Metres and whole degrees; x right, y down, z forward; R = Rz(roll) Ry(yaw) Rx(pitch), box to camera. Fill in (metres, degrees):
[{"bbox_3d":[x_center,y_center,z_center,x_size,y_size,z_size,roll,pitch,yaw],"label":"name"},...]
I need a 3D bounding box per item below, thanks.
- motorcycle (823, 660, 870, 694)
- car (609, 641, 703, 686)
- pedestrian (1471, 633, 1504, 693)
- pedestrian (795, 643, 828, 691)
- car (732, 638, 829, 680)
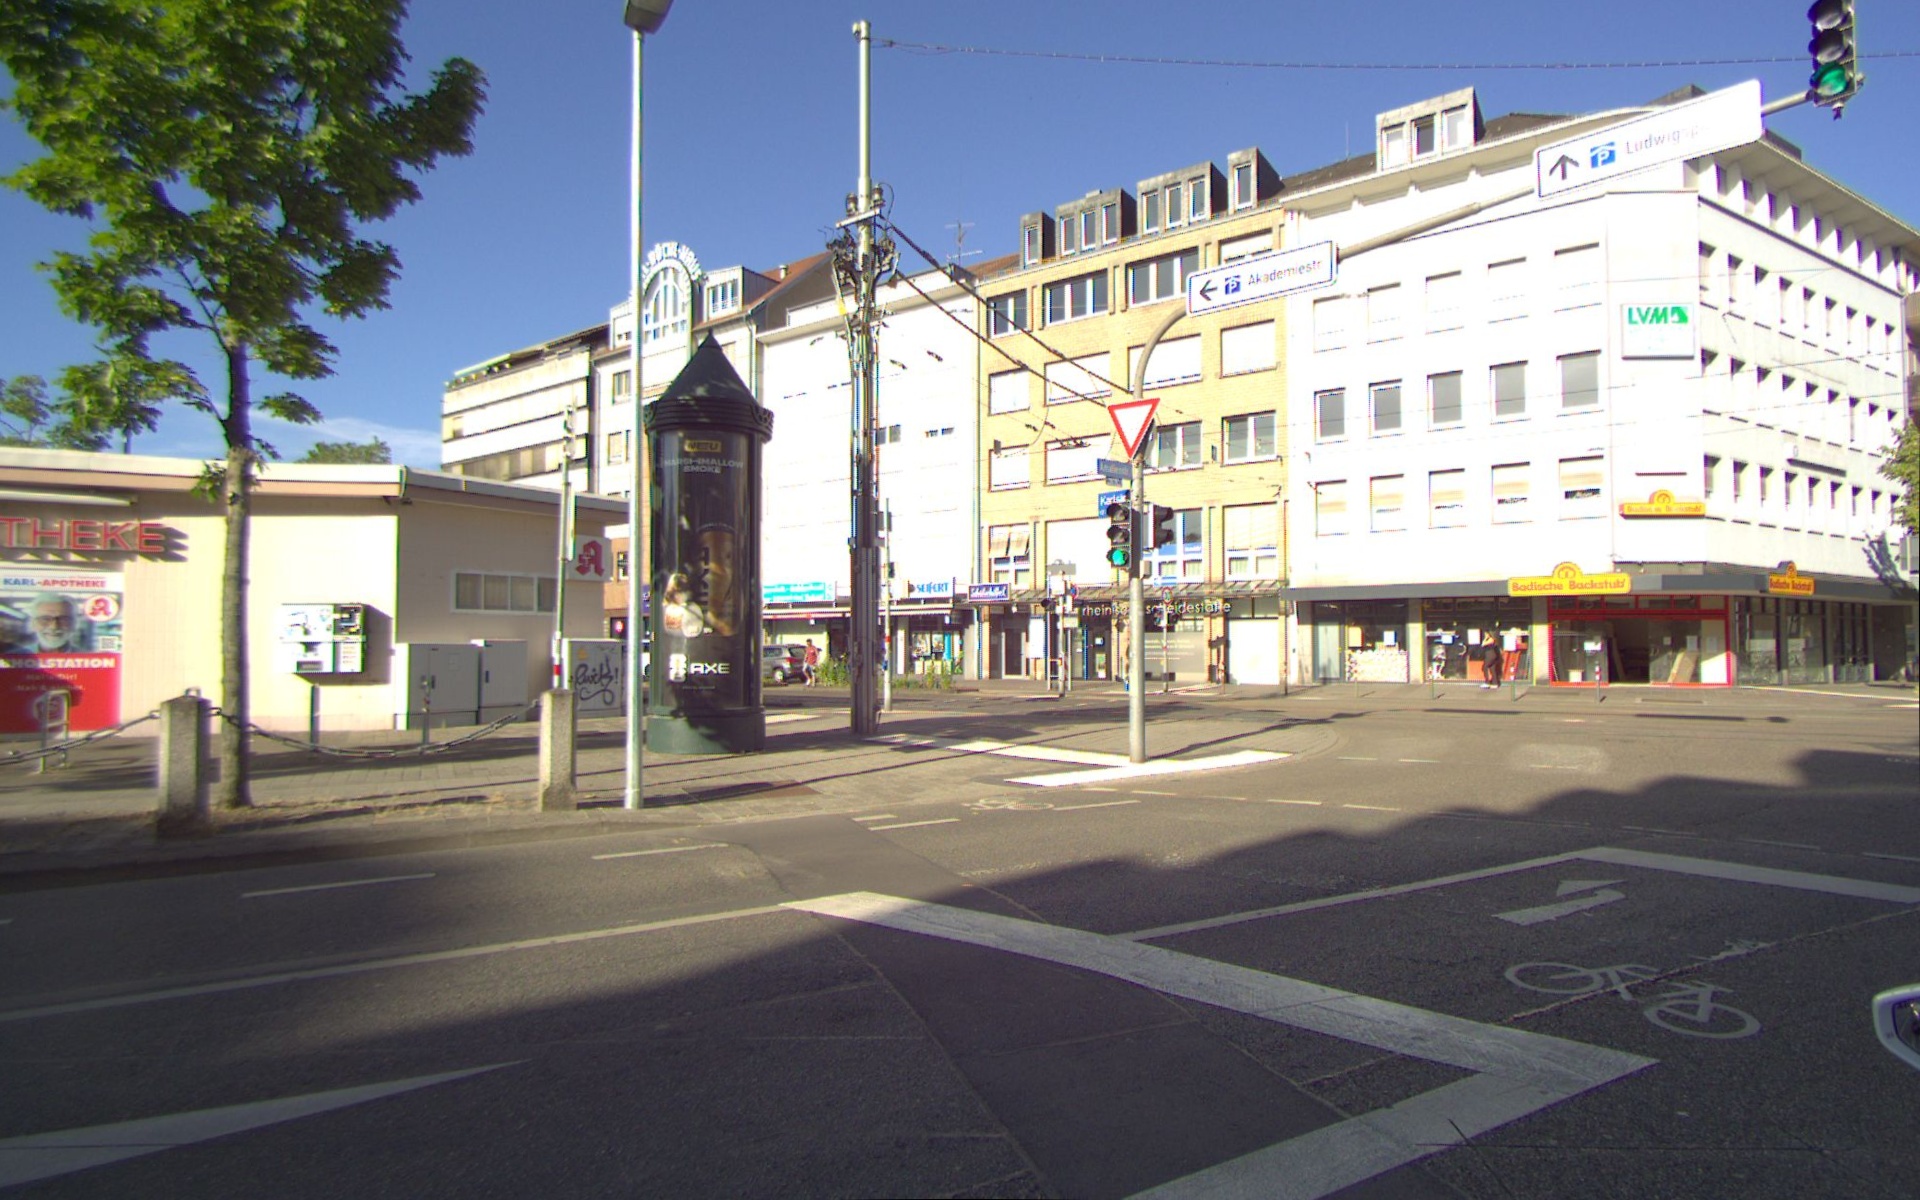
[{"bbox_3d":[-5.263,3.530,46.619,0.983,1.525,2.250,-2,-3,33],"label":"motorcycle"},{"bbox_3d":[-14.613,3.006,48.203,4.768,2.040,1.992,-2,-3,39],"label":"car"},{"bbox_3d":[15.657,1.867,29.802,0.705,1.731,0.555,2,-4,-33],"label":"pedestrian"},{"bbox_3d":[-5.260,2.358,35.593,0.898,1.685,0.946,0,-3,7],"label":"pedestrian"},{"bbox_3d":[-7.827,2.537,43.674,3.935,1.728,1.994,-2,-3,36],"label":"car"}]
